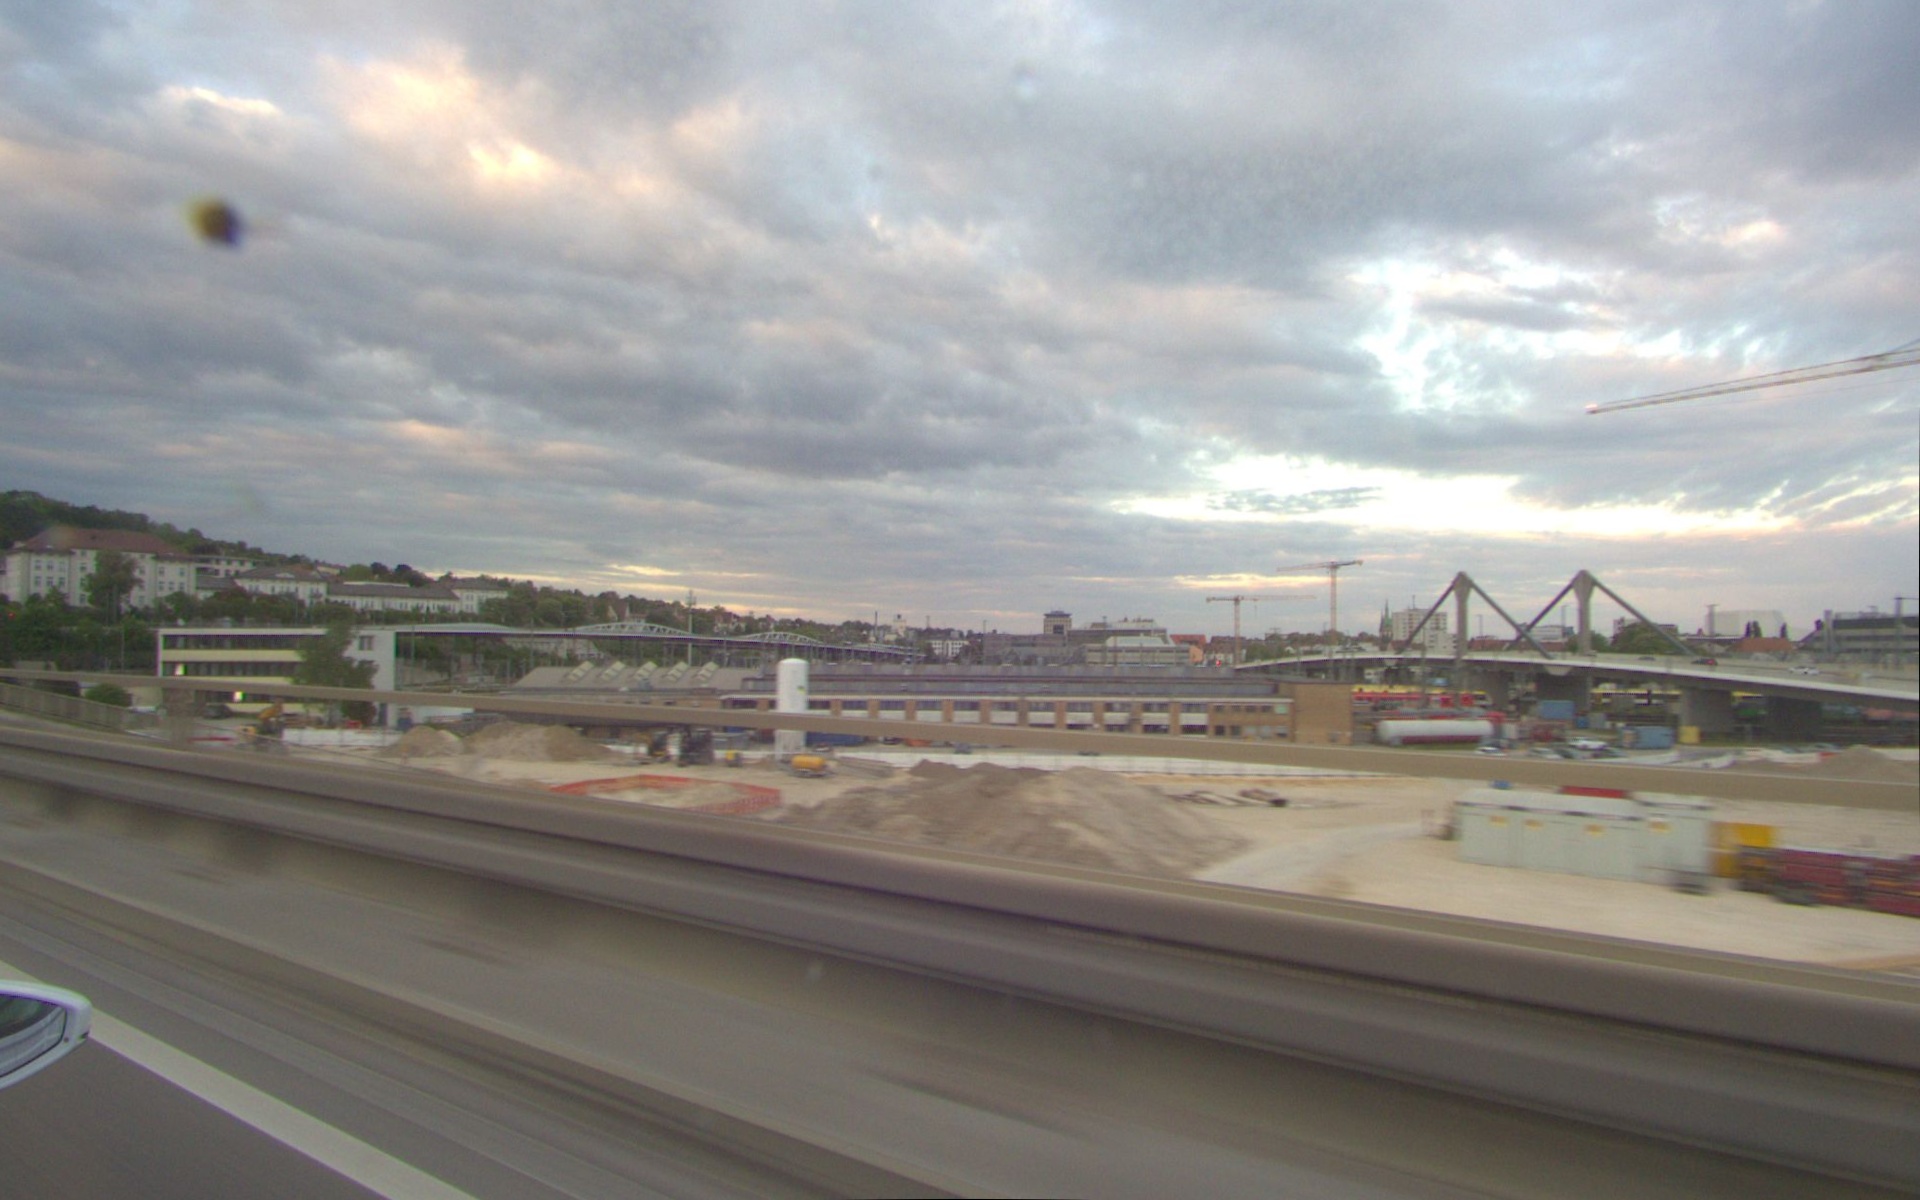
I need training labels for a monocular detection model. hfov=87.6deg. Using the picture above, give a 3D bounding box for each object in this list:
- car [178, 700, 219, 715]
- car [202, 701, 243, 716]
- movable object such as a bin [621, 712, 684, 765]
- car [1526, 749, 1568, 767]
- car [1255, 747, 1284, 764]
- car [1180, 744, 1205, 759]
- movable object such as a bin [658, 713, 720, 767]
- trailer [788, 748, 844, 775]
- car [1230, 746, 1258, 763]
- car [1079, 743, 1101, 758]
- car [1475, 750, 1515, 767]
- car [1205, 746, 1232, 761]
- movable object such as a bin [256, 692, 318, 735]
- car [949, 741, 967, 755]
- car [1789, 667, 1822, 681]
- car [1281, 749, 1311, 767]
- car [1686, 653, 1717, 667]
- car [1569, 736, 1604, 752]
[{"bbox_3d":[-89.585,12.631,117.860,1.796,1.583,4.006,5,-5,-3],"label":"car"},{"bbox_3d":[-85.429,12.578,116.076,1.796,1.583,4.006,5,-5,-3],"label":"car"},{"bbox_3d":[-26.804,12.125,87.543,2.733,4.356,4.963,2,-7,16],"label":"movable object such as a bin"},{"bbox_3d":[64.606,17.368,110.246,1.835,1.539,4.348,1,-4,-5],"label":"car"},{"bbox_3d":[34.294,17.220,110.947,1.835,1.669,4.009,4,-7,0],"label":"car"},{"bbox_3d":[25.928,16.921,111.814,1.835,1.435,4.009,4,-7,0],"label":"car"},{"bbox_3d":[-23.317,12.092,86.409,2.733,4.356,4.963,2,-7,16],"label":"movable object such as a bin"},{"bbox_3d":[-11.378,12.781,79.327,3.780,1.823,1.999,1,-7,25],"label":"trailer"},{"bbox_3d":[31.595,17.192,111.574,1.835,1.733,4.009,4,-7,0],"label":"car"},{"bbox_3d":[14.539,16.897,112.259,1.835,1.435,4.009,4,-7,0],"label":"car"},{"bbox_3d":[58.913,17.427,110.310,1.835,1.539,4.348,1,-4,-5],"label":"car"},{"bbox_3d":[28.808,17.125,111.583,1.835,1.435,4.009,4,-7,0],"label":"car"},{"bbox_3d":[-73.389,12.407,109.273,4.868,4.356,2.787,1,-7,19],"label":"movable object such as a bin"},{"bbox_3d":[-0.242,16.695,112.994,1.835,1.435,4.009,4,-7,0],"label":"car"},{"bbox_3d":[127.768,11.227,151.372,1.565,1.761,3.705,5,-1,-4],"label":"car"},{"bbox_3d":[37.089,17.404,110.527,1.835,1.669,4.009,4,-7,0],"label":"car"},{"bbox_3d":[123.557,10.021,166.850,1.962,2.039,3.999,5,-1,-4],"label":"car"},{"bbox_3d":[77.753,17.845,124.230,3.618,1.593,1.441,5,-7,-10],"label":"car"}]
